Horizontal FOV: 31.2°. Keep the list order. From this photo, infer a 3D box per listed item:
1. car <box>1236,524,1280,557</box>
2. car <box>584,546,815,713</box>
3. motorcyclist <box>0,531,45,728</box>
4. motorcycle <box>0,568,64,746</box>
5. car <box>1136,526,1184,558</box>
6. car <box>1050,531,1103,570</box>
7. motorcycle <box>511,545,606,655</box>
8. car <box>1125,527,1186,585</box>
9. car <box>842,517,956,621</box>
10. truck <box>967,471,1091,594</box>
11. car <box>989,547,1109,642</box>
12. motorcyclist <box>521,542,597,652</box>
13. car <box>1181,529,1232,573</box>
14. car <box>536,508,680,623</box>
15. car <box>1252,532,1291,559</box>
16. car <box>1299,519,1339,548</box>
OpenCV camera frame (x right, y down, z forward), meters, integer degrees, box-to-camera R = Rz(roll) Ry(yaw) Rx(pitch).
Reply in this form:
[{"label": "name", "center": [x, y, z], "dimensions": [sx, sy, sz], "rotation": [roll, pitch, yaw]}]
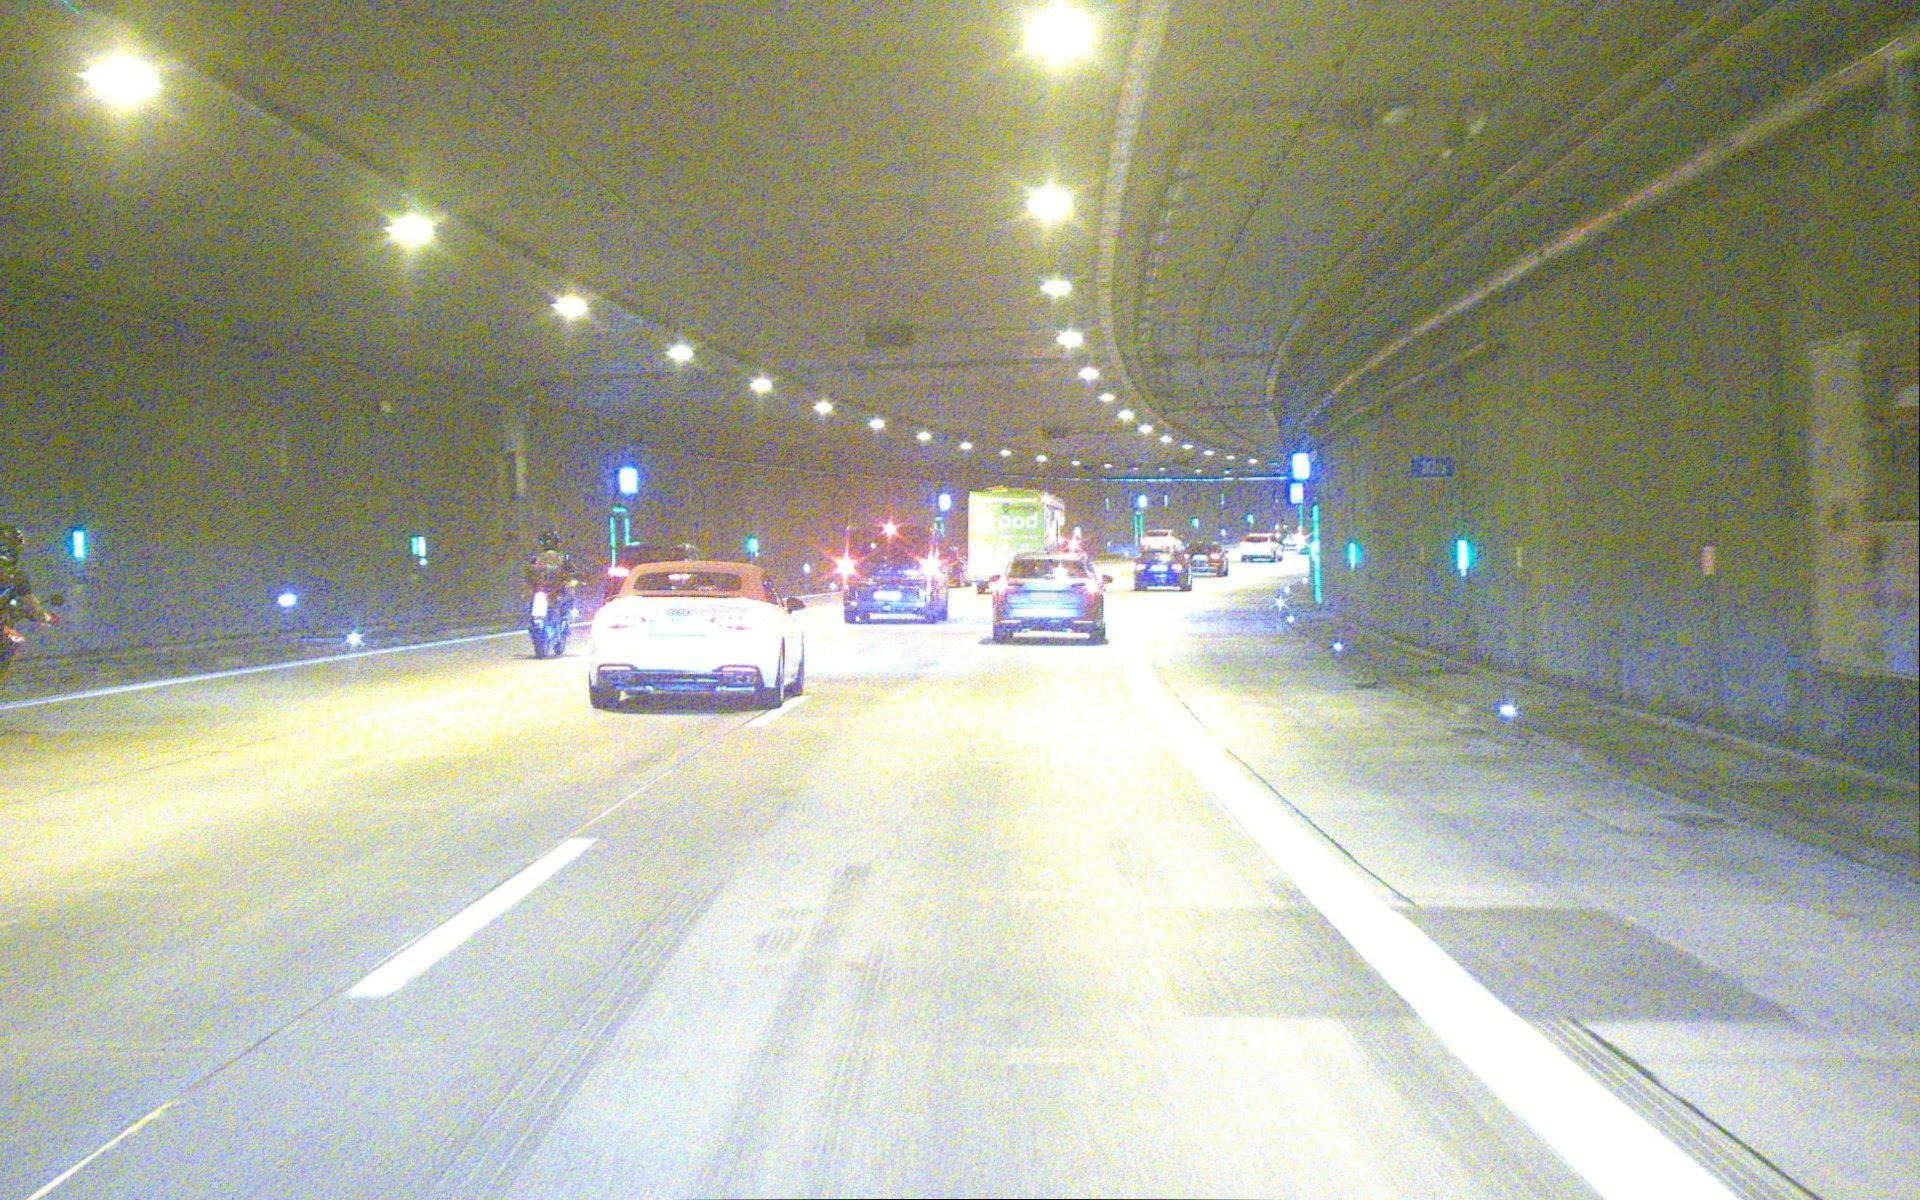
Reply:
[{"label": "car", "center": [15.310, -3.033, 176.471], "dimensions": [1.931, 1.637, 3.999], "rotation": [1, 1, 9]}, {"label": "car", "center": [-2.465, 0.229, 33.656], "dimensions": [1.702, 1.414, 5.060], "rotation": [0, 2, 2]}, {"label": "motorcyclist", "center": [-7.382, 0.209, 25.735], "dimensions": [0.777, 1.447, 1.069], "rotation": [1, 0, 0]}, {"label": "motorcycle", "center": [-7.383, 0.413, 25.847], "dimensions": [0.683, 1.292, 2.399], "rotation": [0, 1, -1]}, {"label": "car", "center": [10.688, -3.092, 183.094], "dimensions": [1.931, 1.637, 3.998], "rotation": [1, 1, 12]}, {"label": "car", "center": [5.080, -2.141, 149.020], "dimensions": [1.931, 1.637, 3.999], "rotation": [1, 1, 7]}, {"label": "motorcycle", "center": [-5.409, -0.016, 46.488], "dimensions": [0.926, 1.429, 2.964], "rotation": [1, 1, 0]}, {"label": "car", "center": [6.449, -1.449, 113.185], "dimensions": [1.857, 1.848, 3.999], "rotation": [1, 1, 5]}, {"label": "car", "center": [-1.208, -0.655, 69.333], "dimensions": [1.910, 1.937, 3.871], "rotation": [0, 3, 5]}, {"label": "truck", "center": [2.205, -2.096, 107.488], "dimensions": [3.040, 3.660, 7.391], "rotation": [1, 1, 8]}, {"label": "car", "center": [1.492, -0.062, 56.368], "dimensions": [1.742, 1.459, 3.870], "rotation": [1, -1, 5]}, {"label": "motorcyclist", "center": [-5.411, -0.050, 46.439], "dimensions": [0.806, 1.443, 1.865], "rotation": [0, 1, 0]}, {"label": "car", "center": [10.154, -1.990, 141.377], "dimensions": [1.950, 1.766, 3.999], "rotation": [1, 1, 6]}, {"label": "car", "center": [-6.370, -0.644, 62.659], "dimensions": [1.994, 2.007, 4.000], "rotation": [1, 1, 3]}, {"label": "car", "center": [18.838, -3.291, 207.916], "dimensions": [1.931, 1.637, 3.998], "rotation": [1, 1, 11]}, {"label": "car", "center": [20.481, -3.774, 196.078], "dimensions": [1.994, 1.626, 3.998], "rotation": [1, 1, 9]}]
